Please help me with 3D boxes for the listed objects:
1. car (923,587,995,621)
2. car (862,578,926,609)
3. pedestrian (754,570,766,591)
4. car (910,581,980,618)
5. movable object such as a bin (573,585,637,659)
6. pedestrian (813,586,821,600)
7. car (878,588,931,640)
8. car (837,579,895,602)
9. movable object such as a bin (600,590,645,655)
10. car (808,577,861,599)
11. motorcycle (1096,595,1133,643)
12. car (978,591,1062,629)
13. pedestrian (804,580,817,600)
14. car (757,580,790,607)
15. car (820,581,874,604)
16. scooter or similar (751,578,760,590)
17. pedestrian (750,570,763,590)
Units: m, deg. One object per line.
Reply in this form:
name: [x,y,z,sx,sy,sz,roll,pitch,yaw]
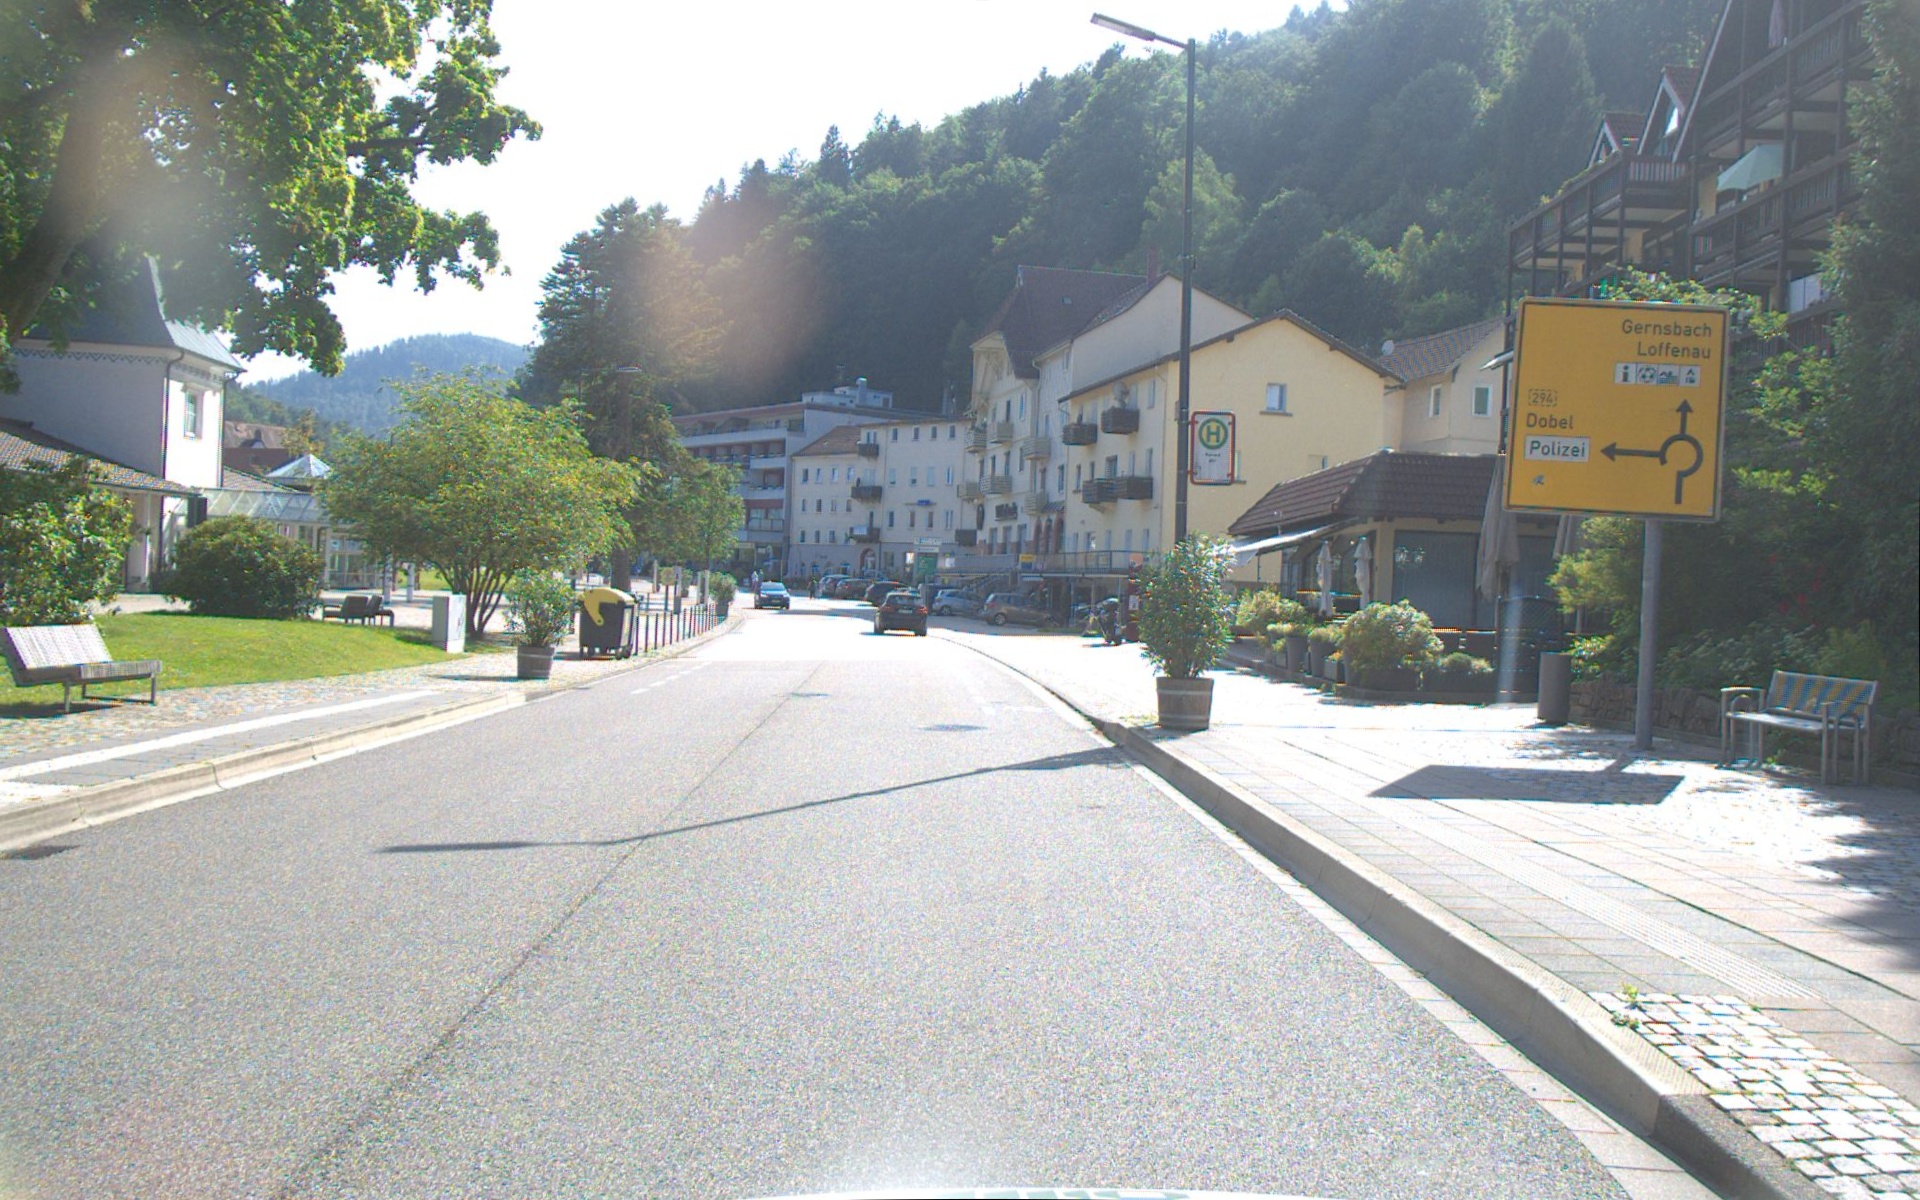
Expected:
car: [-0.072,0.232,96.155,3.840,1.616,1.770,5,0,-11]
car: [-4.490,-0.468,112.539,4.011,1.694,1.768,5,0,-11]
pedestrian: [-16.832,-1.650,139.104,0.662,1.758,0.700,3,0,-33]
car: [-0.908,-0.012,98.822,3.840,1.835,1.853,5,-1,-11]
movable object such as a bin: [-7.519,0.454,35.110,1.057,1.452,1.376,4,0,-4]
pedestrian: [-10.510,-0.525,121.471,0.414,1.019,0.524,0,2,-36]
car: [-2.057,0.487,60.629,1.693,1.601,3.750,3,2,-4]
car: [-6.997,-0.737,123.472,3.969,1.542,1.754,-1,3,-31]
movable object such as a bin: [-7.545,0.497,36.999,0.740,1.365,1.294,4,0,-4]
car: [-9.917,-0.961,130.383,3.822,1.640,1.754,-1,3,-31]
motorcycle: [4.449,0.531,47.772,0.683,1.319,2.210,-1,0,-4]
car: [2.991,0.490,82.634,3.794,1.581,1.755,5,0,-13]
pedestrian: [-10.977,-0.718,121.194,0.729,1.467,0.625,0,2,-36]
car: [-10.575,-0.356,93.858,1.707,1.488,4.183,0,0,-5]
car: [-8.683,-0.586,127.380,3.822,1.576,1.754,-1,3,-31]
scooter or similar: [-17.084,-1.313,138.198,0.590,0.967,0.469,3,0,-33]
pedestrian: [-16.978,-1.640,138.054,0.750,1.621,0.621,3,0,-33]
